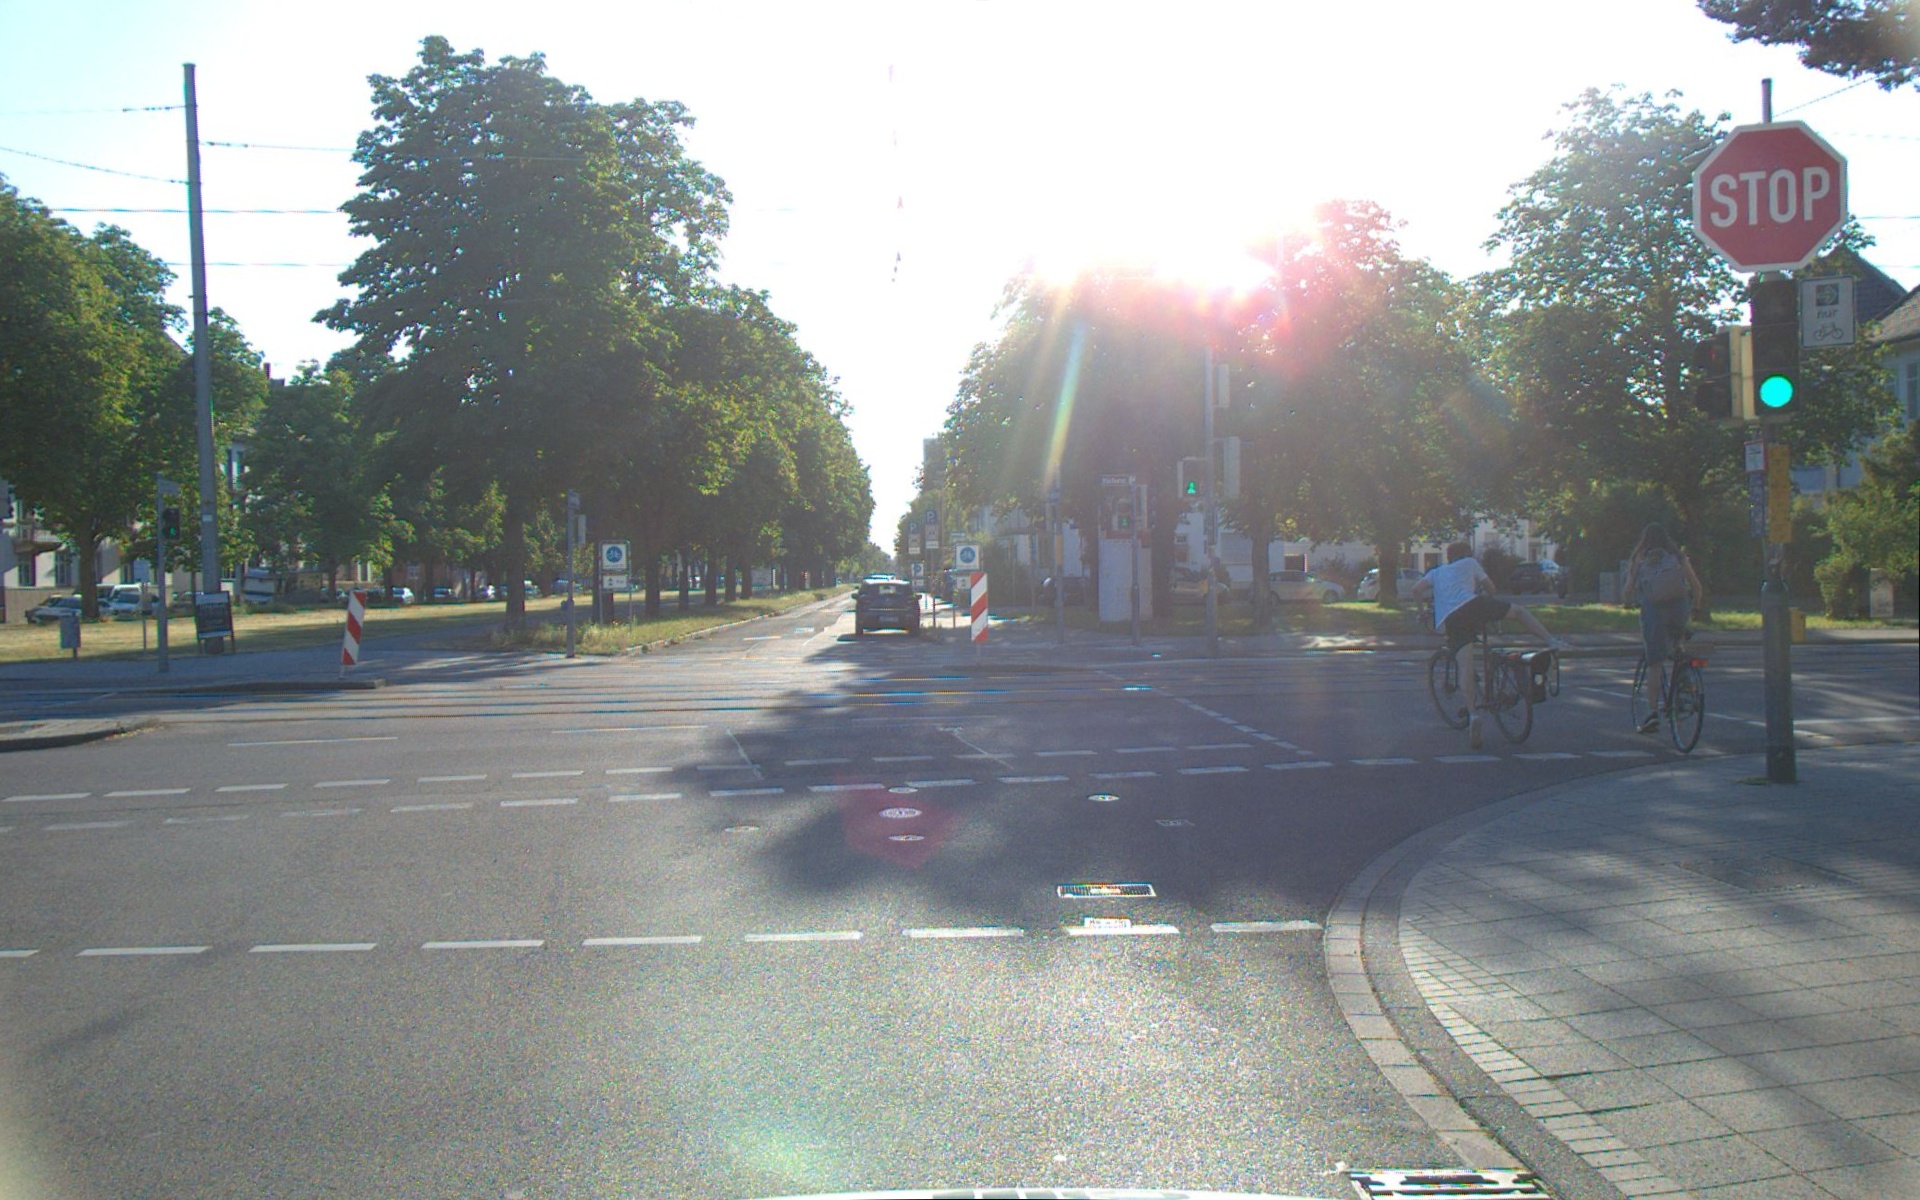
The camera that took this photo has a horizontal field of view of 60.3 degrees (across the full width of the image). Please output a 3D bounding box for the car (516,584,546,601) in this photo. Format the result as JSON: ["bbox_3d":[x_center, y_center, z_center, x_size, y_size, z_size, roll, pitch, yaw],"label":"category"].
[{"bbox_3d":[-43.269,-0.760,166.904,1.982,1.688,3.982,1,0,-2],"label":"car"}]

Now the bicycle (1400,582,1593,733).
[{"bbox_3d":[4.549,0.456,14.157,0.563,1.204,1.896,1,0,-18],"label":"bicycle"}]

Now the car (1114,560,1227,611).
[{"bbox_3d":[8.329,-0.575,65.690,4.157,1.908,2.029,-1,0,-3],"label":"car"}]

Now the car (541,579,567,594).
[{"bbox_3d":[-45.732,-1.529,186.361,1.954,1.688,4.568,-1,1,-3],"label":"car"}]

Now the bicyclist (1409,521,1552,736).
[{"bbox_3d":[4.426,0.243,14.103,0.801,1.762,0.890,1,-1,-15],"label":"bicyclist"}]

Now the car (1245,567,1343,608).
[{"bbox_3d":[13.205,-0.493,65.465,3.487,1.542,1.602,-1,0,-8],"label":"car"}]

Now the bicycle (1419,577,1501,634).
[{"bbox_3d":[9.957,0.106,32.941,1.489,1.108,0.468,-1,1,7],"label":"bicycle"}]

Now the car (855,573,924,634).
[{"bbox_3d":[-1.853,0.100,44.485,1.690,1.537,4.539,1,0,-1],"label":"car"}]

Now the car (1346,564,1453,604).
[{"bbox_3d":[17.585,-0.628,66.216,3.847,1.550,1.521,0,-1,-8],"label":"car"}]

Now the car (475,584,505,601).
[{"bbox_3d":[-48.869,-0.795,172.015,1.953,1.688,4.354,1,0,-1],"label":"car"}]

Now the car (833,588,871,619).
[{"bbox_3d":[-5.095,0.172,78.178,1.675,1.383,4.201,1,0,-2],"label":"car"}]

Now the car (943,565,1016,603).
[{"bbox_3d":[1.095,-0.898,93.491,3.911,1.854,1.757,-2,-5,-7],"label":"car"}]

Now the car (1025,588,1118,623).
[{"bbox_3d":[4.907,0.233,72.872,3.907,1.472,1.715,-1,0,-3],"label":"car"}]
